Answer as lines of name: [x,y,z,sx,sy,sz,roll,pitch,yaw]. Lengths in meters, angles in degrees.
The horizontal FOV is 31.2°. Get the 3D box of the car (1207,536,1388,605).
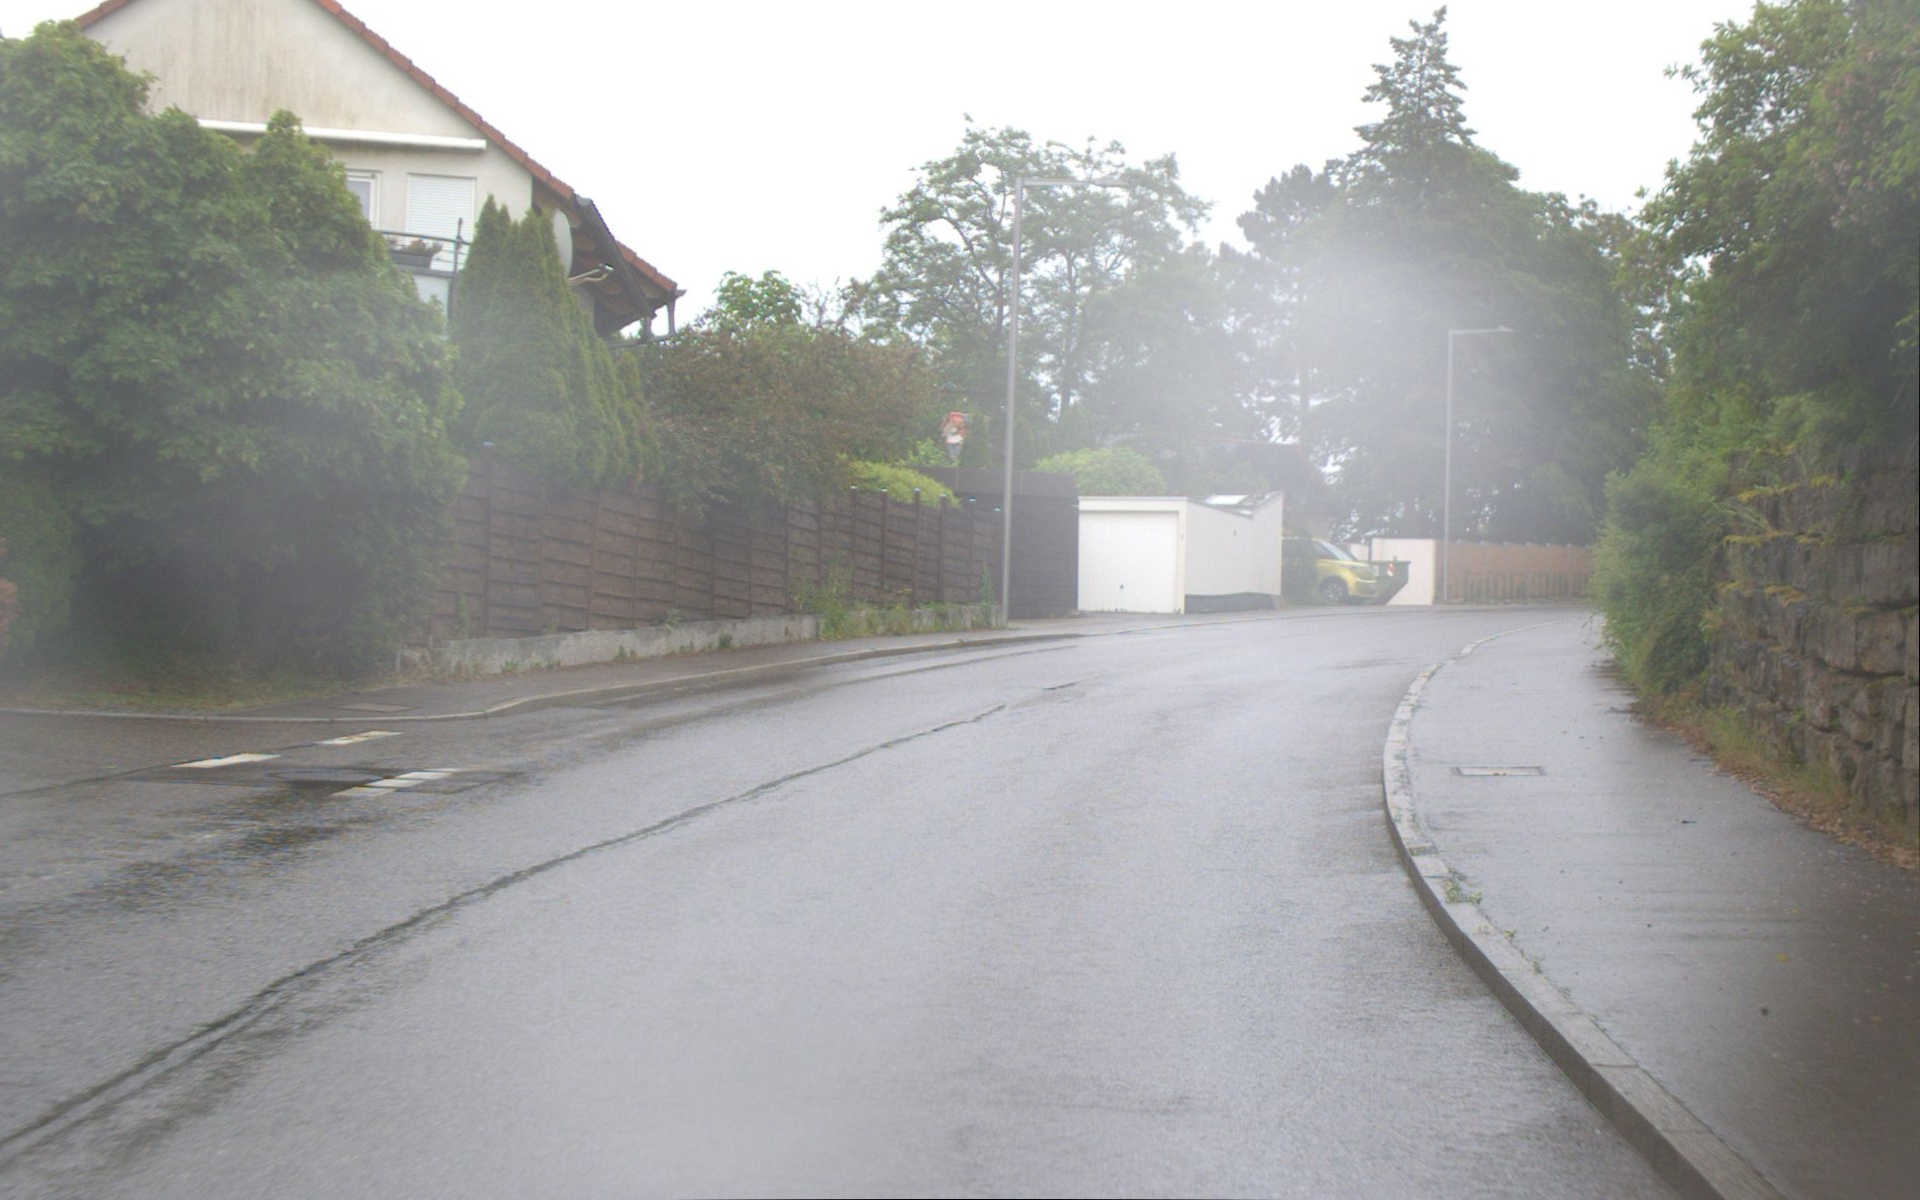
car: [9.295,-0.812,94.607,4.509,1.853,2.087,0,1,25]
